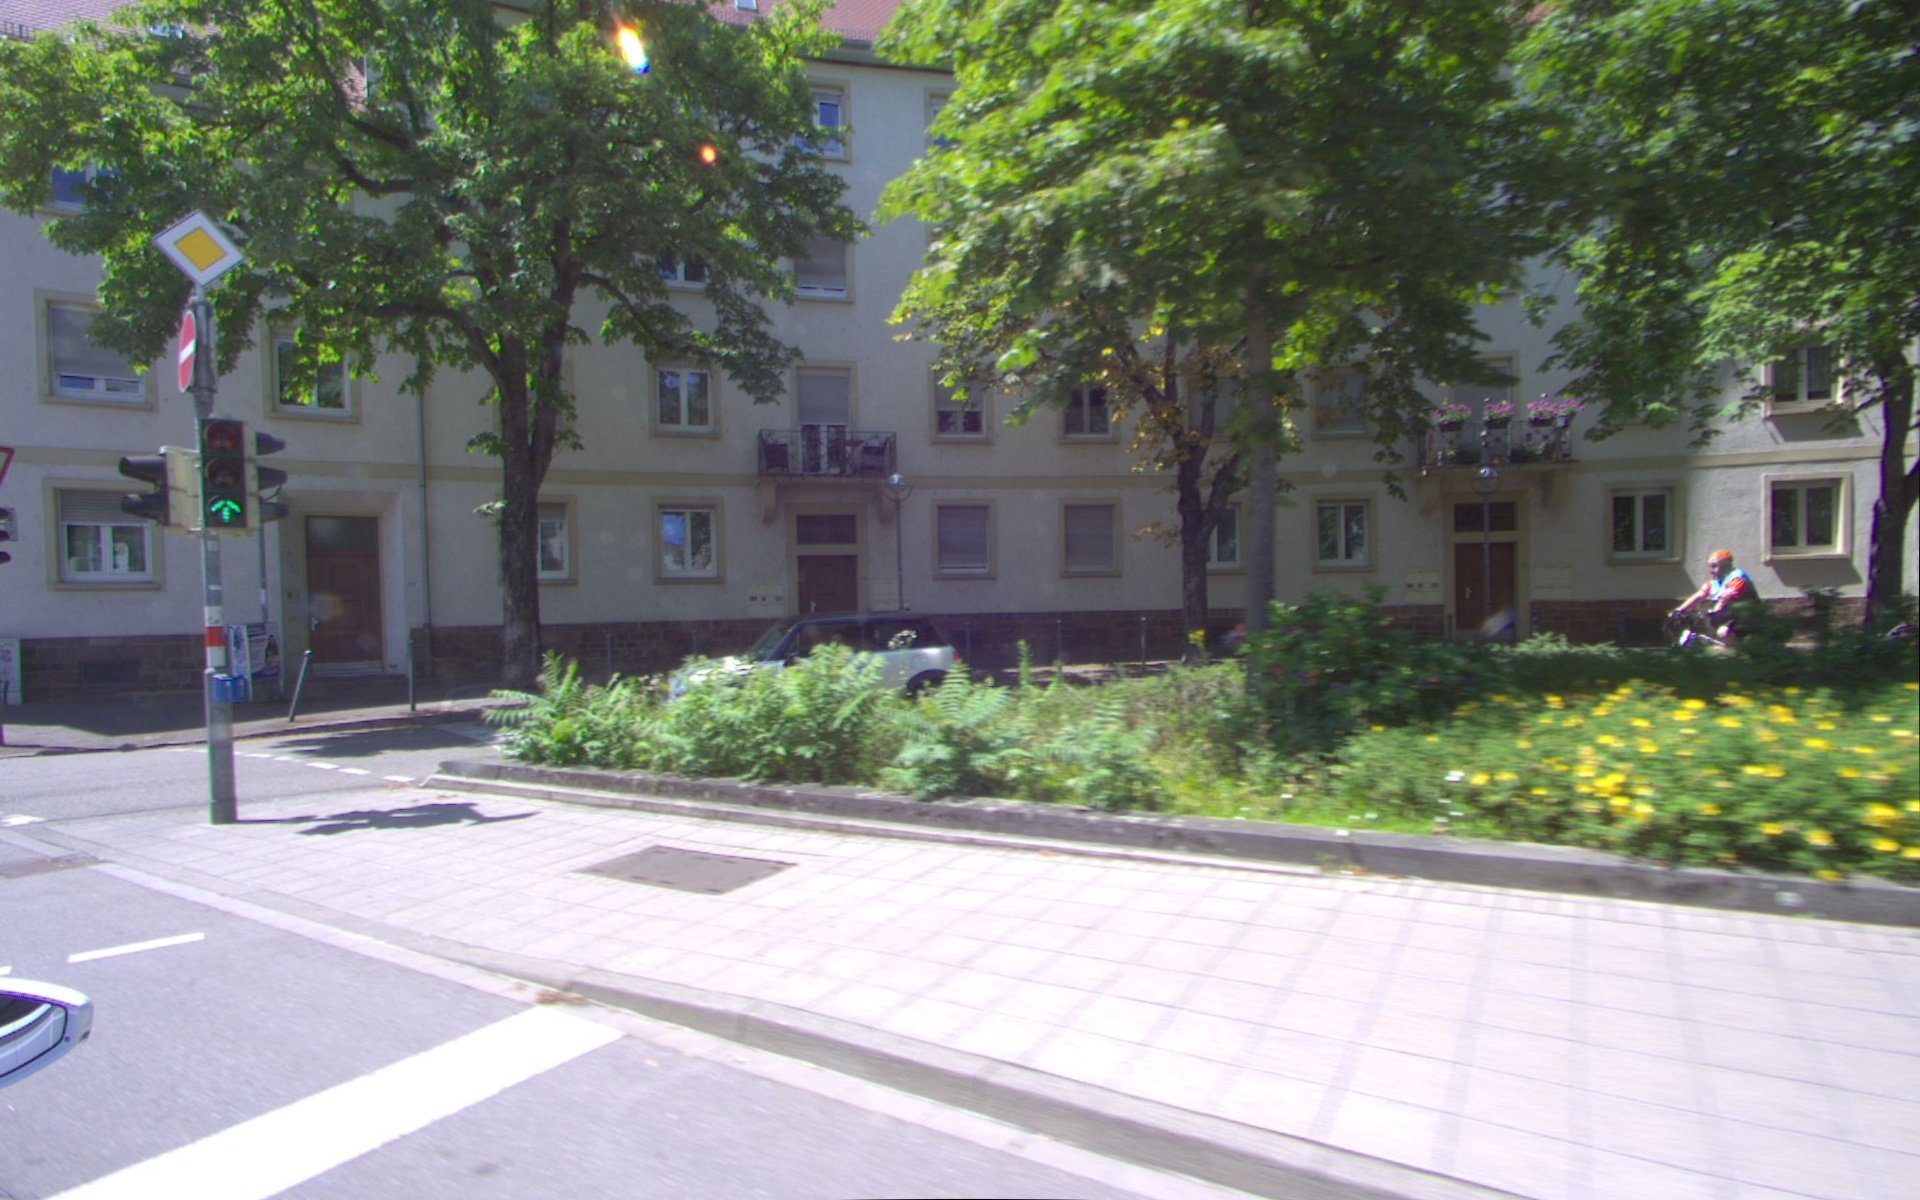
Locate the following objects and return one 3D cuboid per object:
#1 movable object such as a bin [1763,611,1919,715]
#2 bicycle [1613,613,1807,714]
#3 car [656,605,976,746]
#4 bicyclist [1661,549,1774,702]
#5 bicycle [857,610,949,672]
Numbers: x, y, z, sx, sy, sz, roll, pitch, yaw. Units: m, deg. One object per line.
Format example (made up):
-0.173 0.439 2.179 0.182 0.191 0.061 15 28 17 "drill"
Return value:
10.807 0.731 11.930 1.730 1.170 0.868 -1 0 8 "movable object such as a bin"
9.062 0.763 12.158 1.769 1.170 0.681 -1 0 8 "bicycle"
-1.753 0.825 12.075 3.561 1.465 1.693 -1 0 -15 "car"
9.163 0.306 12.142 0.848 1.790 0.698 -1 1 8 "bicyclist"
-1.119 0.799 19.794 1.769 1.170 0.640 -1 1 -3 "bicycle"
